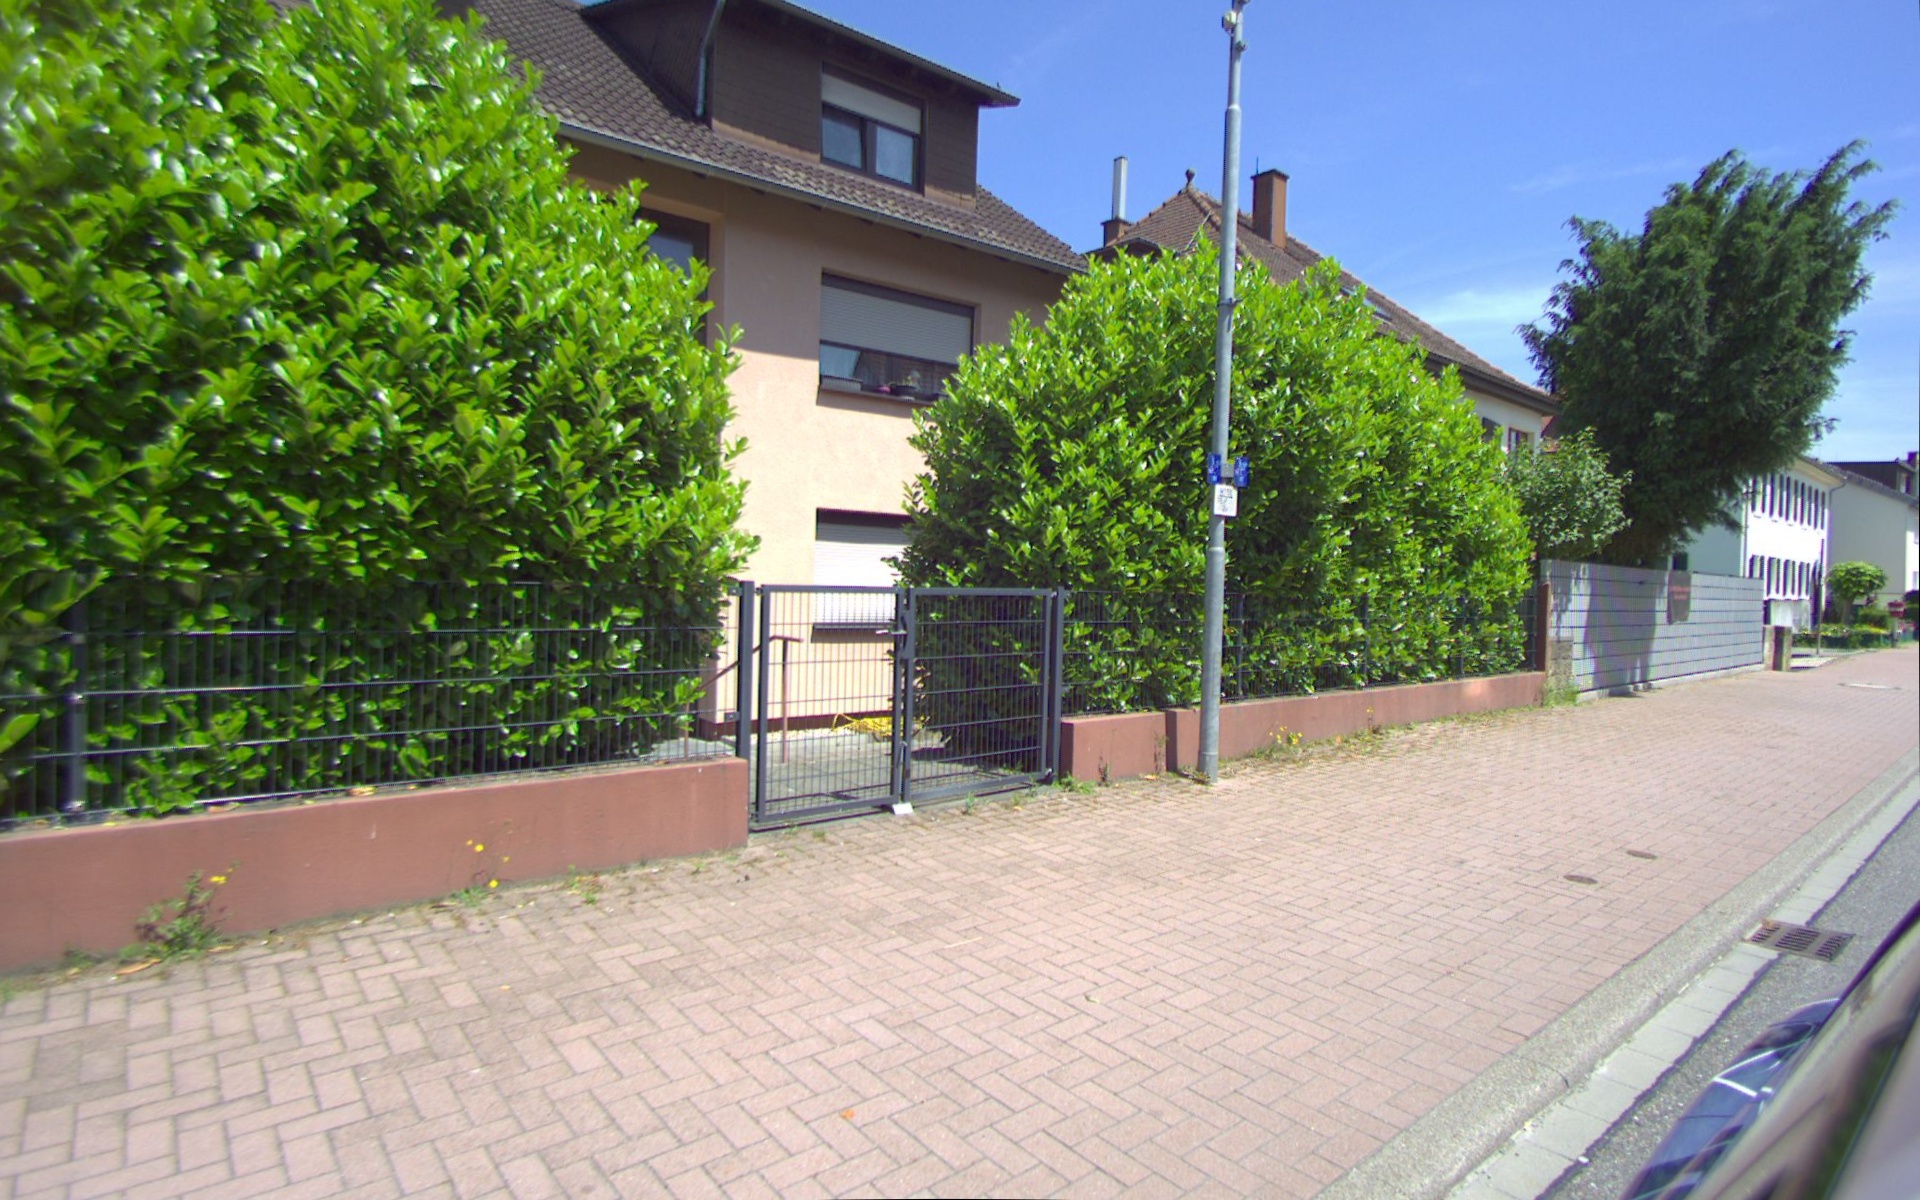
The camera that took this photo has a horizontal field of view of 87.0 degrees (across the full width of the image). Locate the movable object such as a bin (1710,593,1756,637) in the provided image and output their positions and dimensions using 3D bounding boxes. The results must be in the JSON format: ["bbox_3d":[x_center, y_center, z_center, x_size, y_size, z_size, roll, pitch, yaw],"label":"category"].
[{"bbox_3d":[25.866,0.495,33.867,0.885,1.449,1.052,0,-1,-39],"label":"movable object such as a bin"}]
